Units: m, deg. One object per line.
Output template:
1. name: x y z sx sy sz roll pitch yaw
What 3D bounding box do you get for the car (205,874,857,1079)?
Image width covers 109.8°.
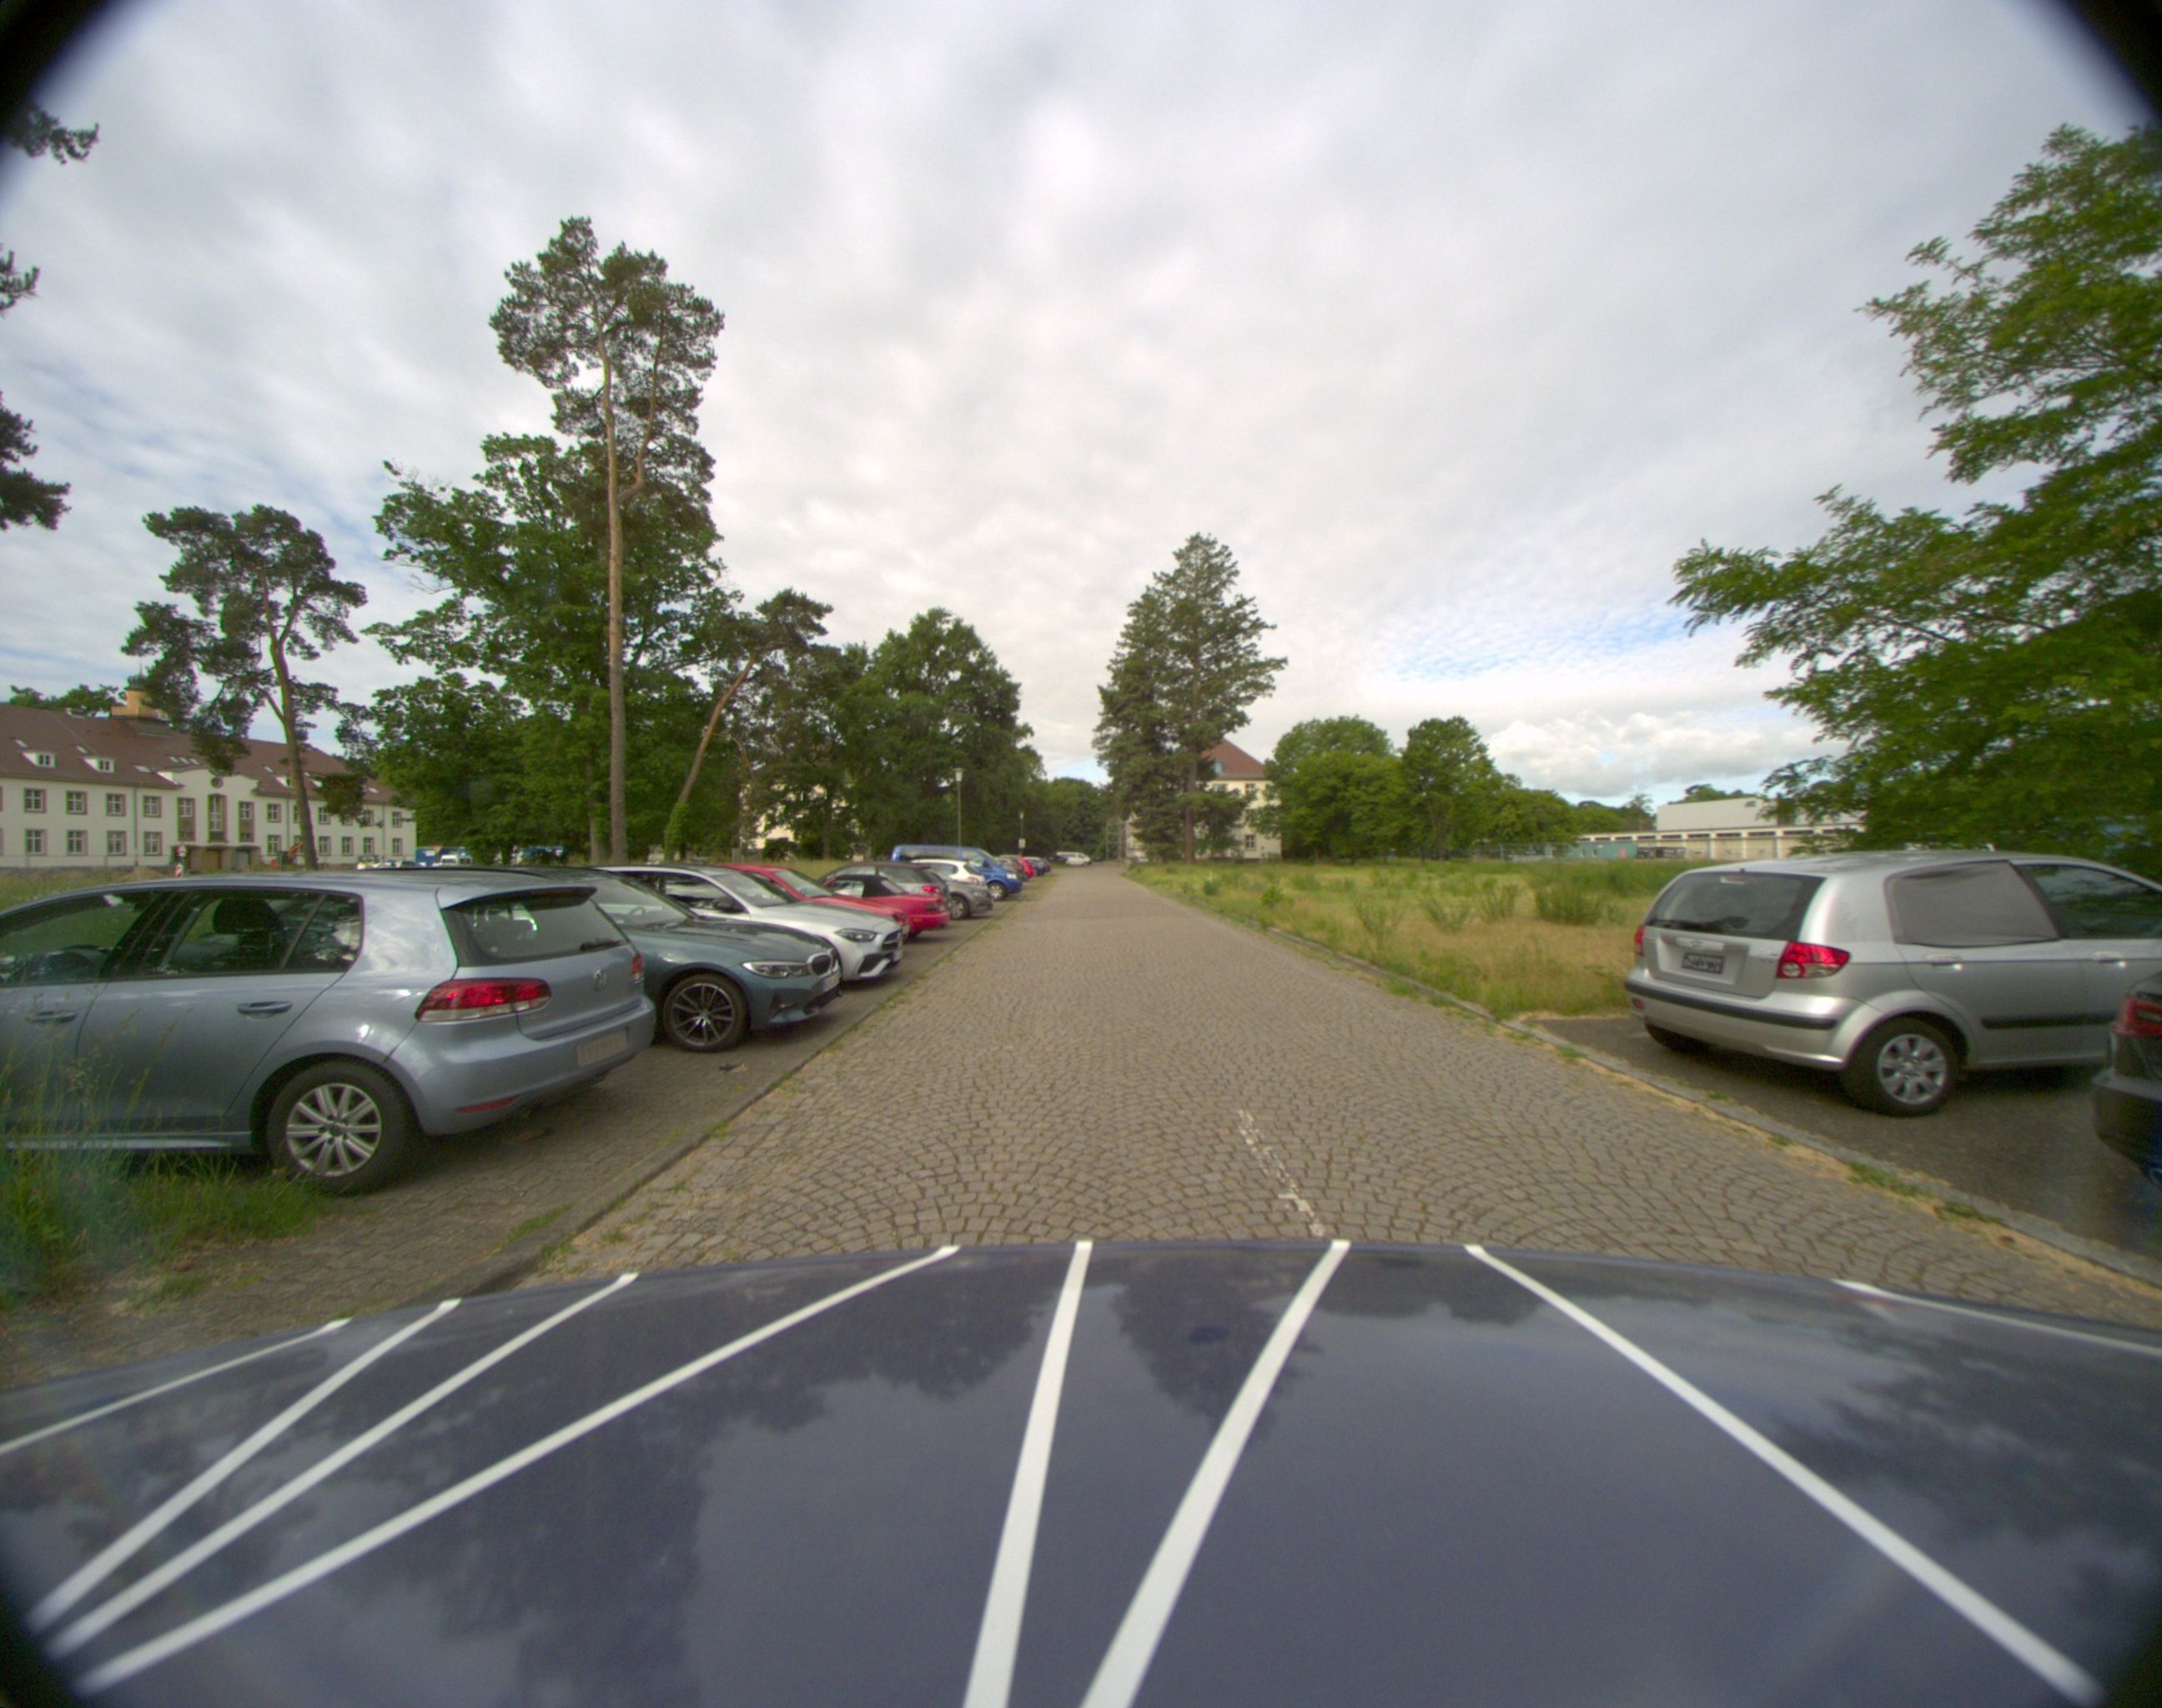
1. car: -4.450 0.974 6.668 4.440 1.375 1.663 2 0 -1

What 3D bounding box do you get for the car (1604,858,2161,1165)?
1. car: 5.951 0.857 4.997 3.960 1.462 1.584 -3 1 -3

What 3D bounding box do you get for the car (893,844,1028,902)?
1. car: -4.343 0.668 27.904 4.601 1.994 1.912 1 1 2

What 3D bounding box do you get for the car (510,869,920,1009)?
1. car: -4.334 0.969 9.413 4.247 1.465 1.717 1 0 2

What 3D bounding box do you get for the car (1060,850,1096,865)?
1. car: -0.491 0.483 110.822 5.149 2.137 1.774 1 0 -3

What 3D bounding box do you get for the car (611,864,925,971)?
1. car: -4.728 0.937 11.891 4.183 1.473 1.717 1 0 1

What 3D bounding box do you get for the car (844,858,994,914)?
1. car: -4.725 0.913 22.492 4.049 1.507 1.601 1 0 3

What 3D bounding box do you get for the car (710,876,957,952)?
1. car: -4.456 1.074 14.078 4.050 1.233 1.549 1 0 1

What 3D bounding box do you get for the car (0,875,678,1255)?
1. car: -4.629 0.924 4.040 4.011 1.420 1.697 2 0 -1

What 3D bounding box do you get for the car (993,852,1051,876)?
1. car: -4.416 0.738 57.471 4.081 1.685 1.727 1 0 7

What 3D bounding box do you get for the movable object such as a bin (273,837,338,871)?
1. movable object such as a bin: -88.380 -0.002 86.604 5.458 3.748 2.053 -1 1 4

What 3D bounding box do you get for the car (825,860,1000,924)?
1. car: -4.254 0.943 19.570 4.097 1.507 1.700 1 0 3

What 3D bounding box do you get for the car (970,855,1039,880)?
1. car: -4.706 0.809 47.124 4.083 1.436 1.726 1 0 2

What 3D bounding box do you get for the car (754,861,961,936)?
1. car: -4.839 0.933 16.745 4.049 1.507 1.601 1 0 3

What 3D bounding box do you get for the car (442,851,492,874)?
1. car: -68.093 0.913 84.381 1.862 2.351 4.447 -1 1 1

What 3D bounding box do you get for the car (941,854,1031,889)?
1. car: -4.573 0.820 36.808 4.083 1.584 1.654 1 0 3

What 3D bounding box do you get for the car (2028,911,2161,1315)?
1. car: 6.137 0.867 2.322 4.446 1.416 1.722 -3 1 -2

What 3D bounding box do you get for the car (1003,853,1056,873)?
1. car: -4.196 0.737 62.160 4.091 1.524 1.727 1 0 7
